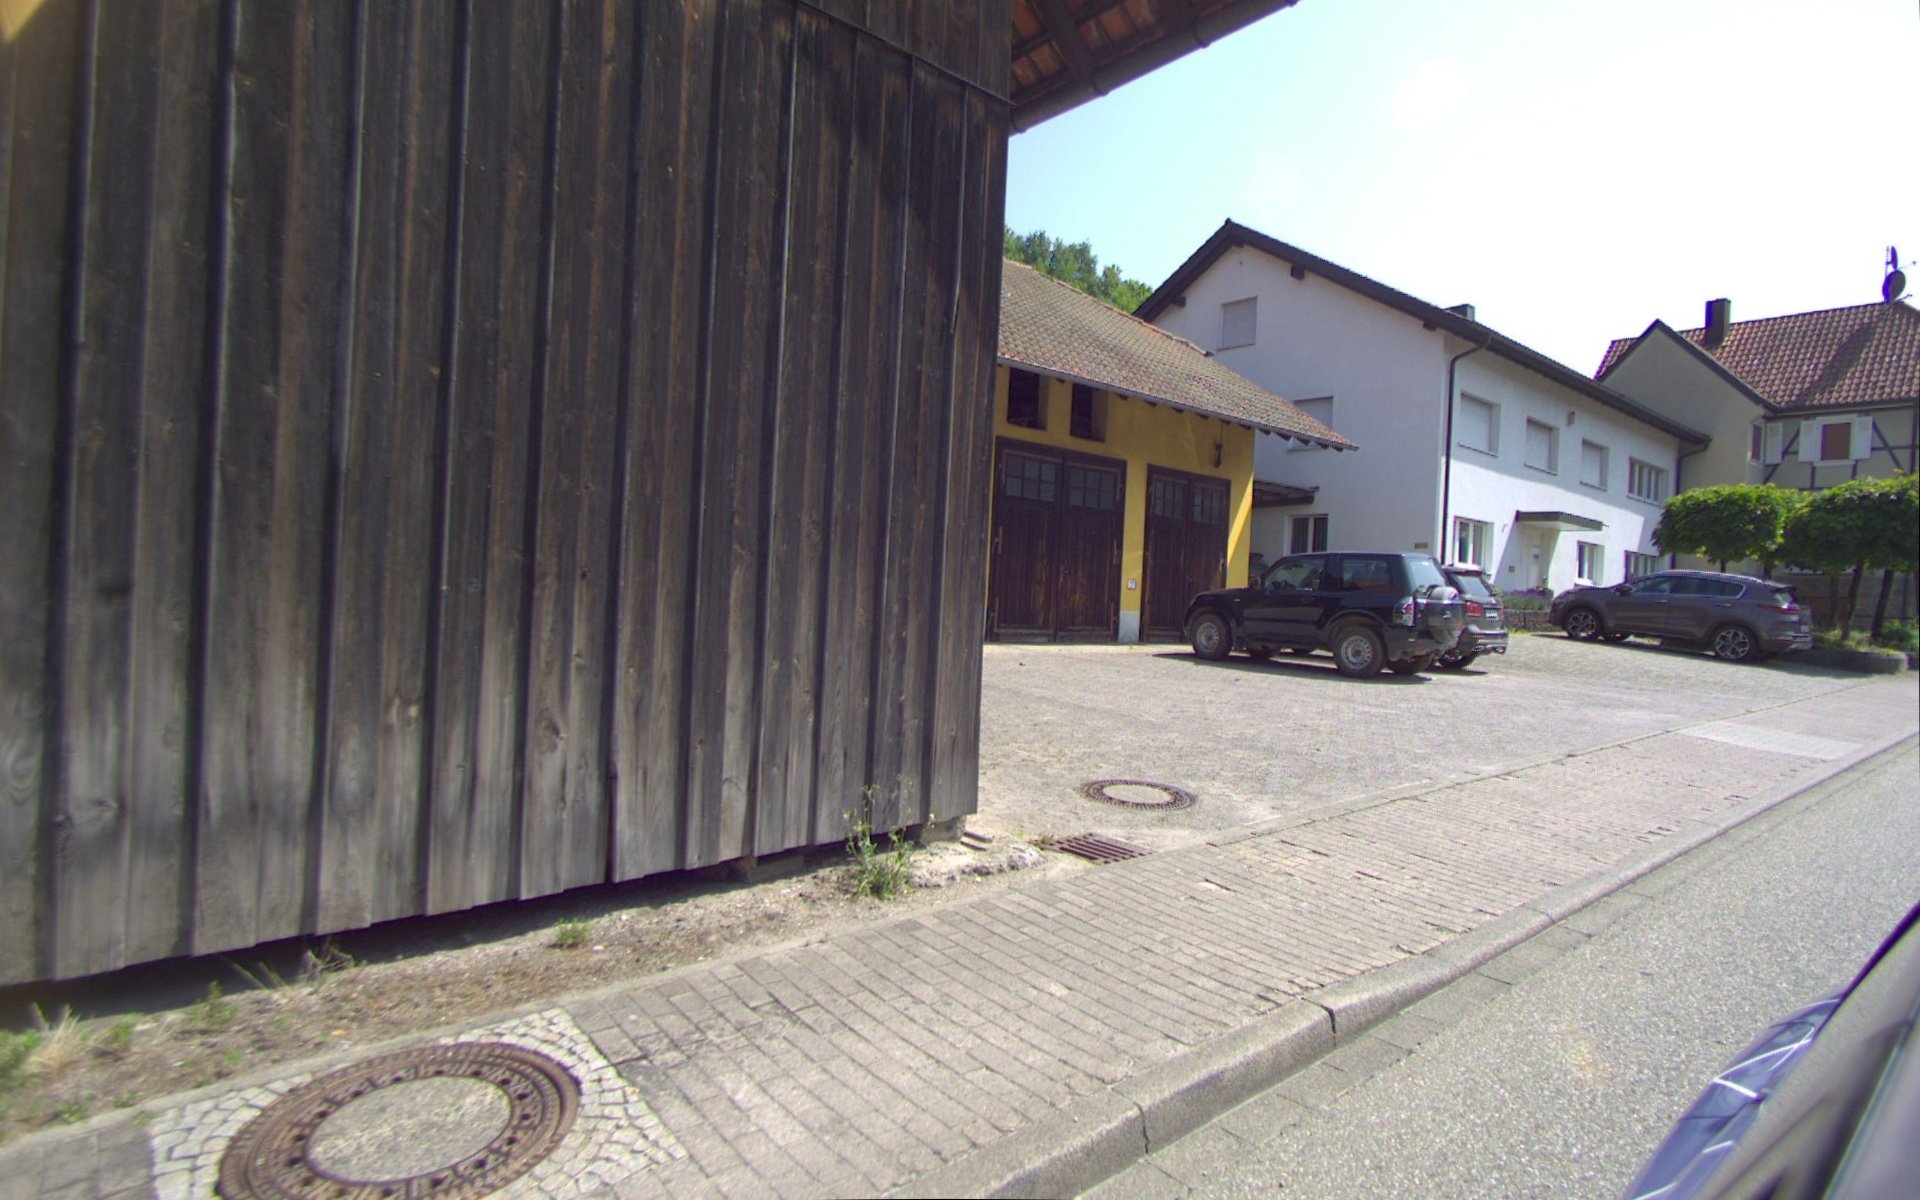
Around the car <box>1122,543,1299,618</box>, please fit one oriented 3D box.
[{"bbox_3d":[6.305,-0.530,25.762,1.839,1.664,3.995,0,3,-41],"label":"car"}]

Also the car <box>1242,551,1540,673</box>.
[{"bbox_3d":[7.519,0.113,17.995,1.919,1.780,4.428,0,3,-42],"label":"car"}]

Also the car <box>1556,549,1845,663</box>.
[{"bbox_3d":[14.767,0.034,20.428,1.743,1.706,4.240,1,7,-35],"label":"car"}]

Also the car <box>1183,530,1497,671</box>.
[{"bbox_3d":[5.799,-0.098,15.828,1.921,1.854,4.134,0,3,-42],"label":"car"}]
